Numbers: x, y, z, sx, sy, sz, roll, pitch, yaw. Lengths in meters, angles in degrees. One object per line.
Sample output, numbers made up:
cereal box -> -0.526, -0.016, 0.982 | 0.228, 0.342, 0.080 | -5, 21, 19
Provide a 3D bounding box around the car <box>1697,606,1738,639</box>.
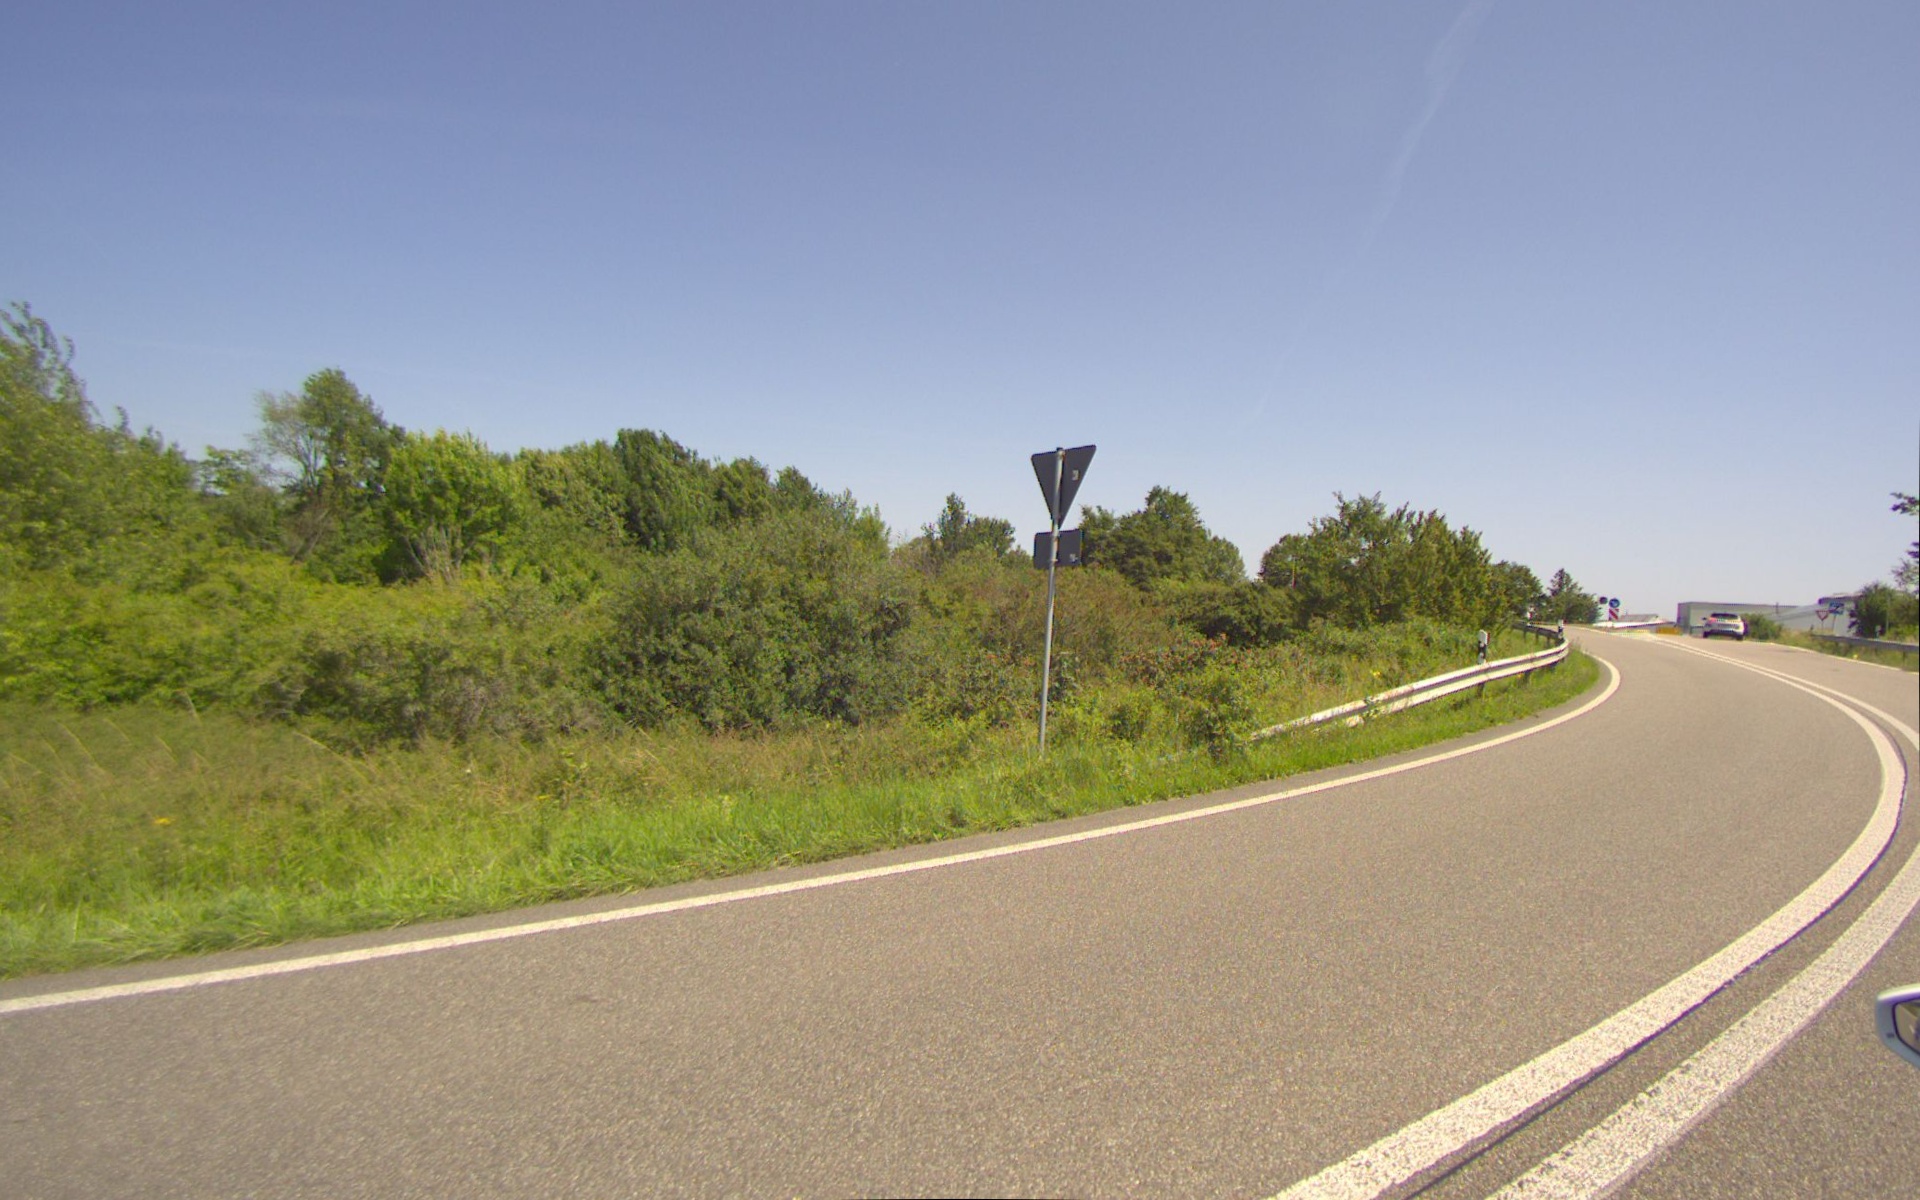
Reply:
car -> 43.565, 1.317, 57.731 | 1.786, 1.713, 3.985 | 2, -1, 38
